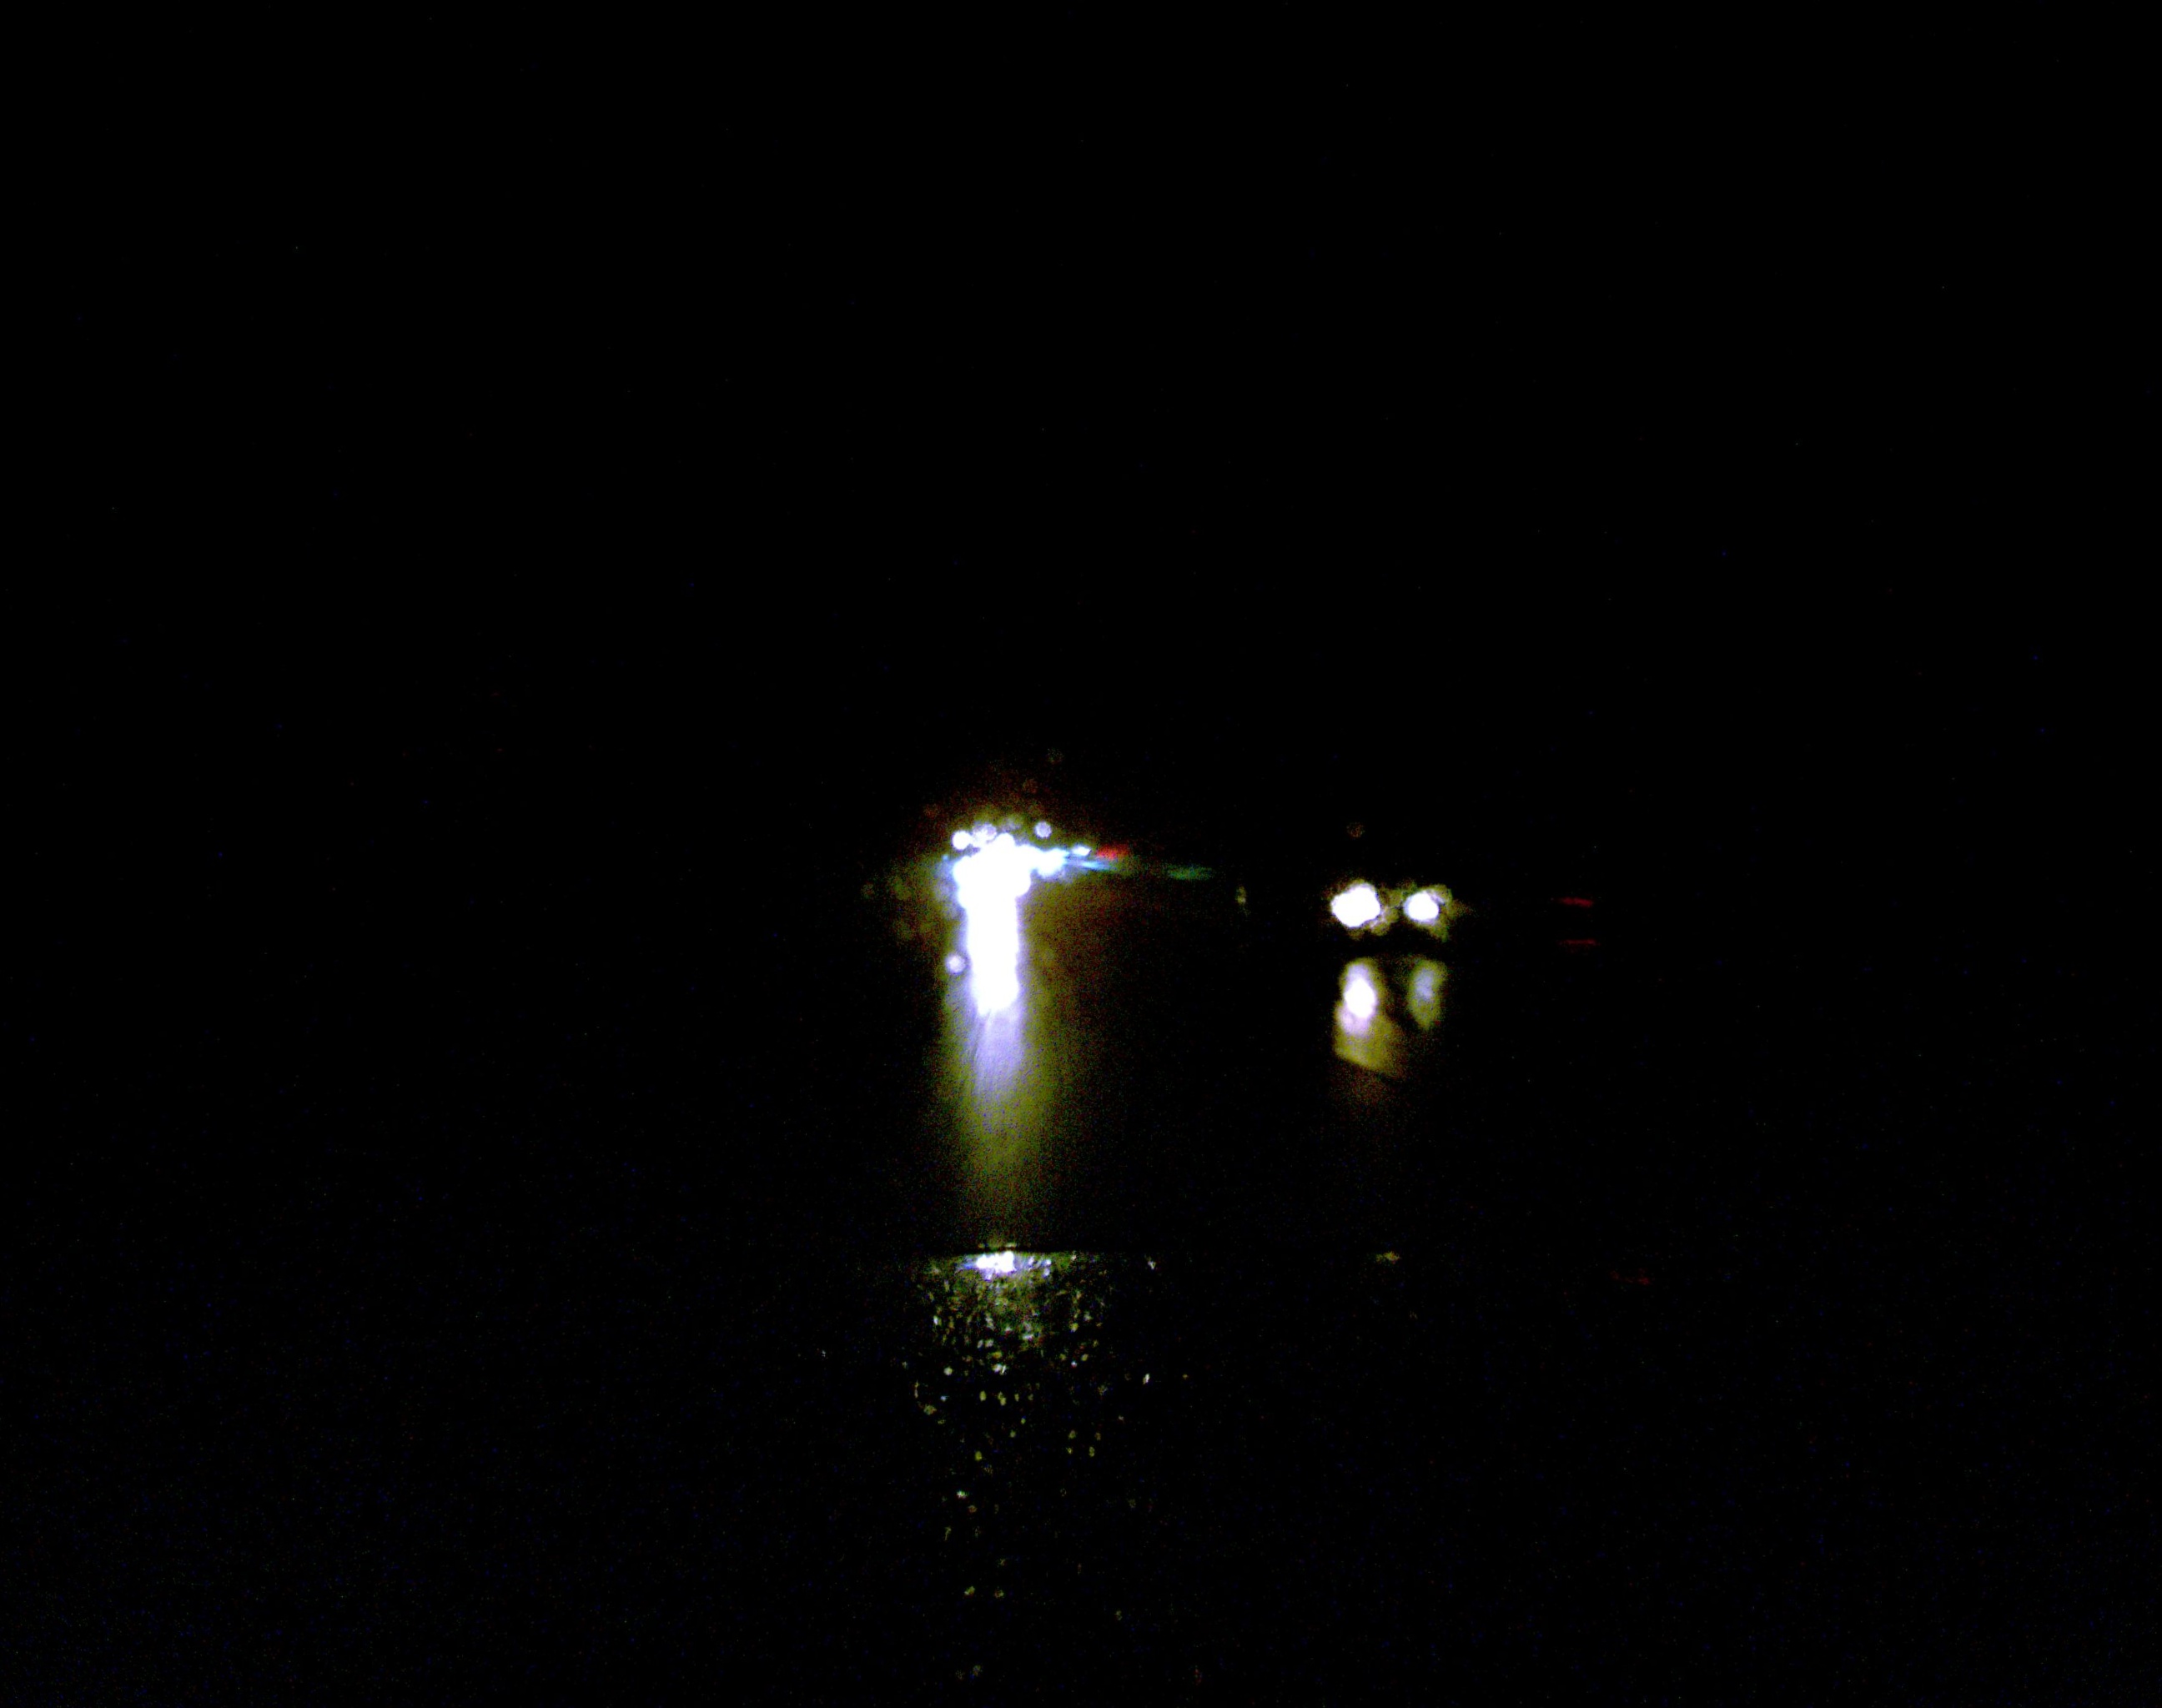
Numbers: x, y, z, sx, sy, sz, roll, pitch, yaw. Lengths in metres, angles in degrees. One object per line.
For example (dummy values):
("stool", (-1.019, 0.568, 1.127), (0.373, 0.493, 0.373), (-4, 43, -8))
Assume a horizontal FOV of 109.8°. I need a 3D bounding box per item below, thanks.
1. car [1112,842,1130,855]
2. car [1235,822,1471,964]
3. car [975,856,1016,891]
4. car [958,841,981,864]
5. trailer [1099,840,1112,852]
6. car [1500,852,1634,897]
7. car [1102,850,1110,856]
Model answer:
("car", (6.335, -0.882, 120.767), (2.000, 2.002, 4.805), (1, 1, -9))
("car", (4.560, 0.578, 13.591), (1.756, 2.093, 4.457), (2, 0, -13))
("car", (-4.393, 0.968, 39.557), (1.893, 1.603, 3.997), (1, 1, -4))
("car", (-10.033, -0.138, 68.544), (2.000, 2.002, 3.997), (-2, 0, -8))
("trailer", (7.360, -2.568, 229.711), (2.617, 3.453, 10.439), (1, 1, -4))
("car", (18.017, 0.704, 28.371), (1.792, 1.466, 3.884), (0, 1, -22))
("car", (6.433, -0.301, 195.337), (1.608, 1.335, 3.240), (0, 2, -5))
